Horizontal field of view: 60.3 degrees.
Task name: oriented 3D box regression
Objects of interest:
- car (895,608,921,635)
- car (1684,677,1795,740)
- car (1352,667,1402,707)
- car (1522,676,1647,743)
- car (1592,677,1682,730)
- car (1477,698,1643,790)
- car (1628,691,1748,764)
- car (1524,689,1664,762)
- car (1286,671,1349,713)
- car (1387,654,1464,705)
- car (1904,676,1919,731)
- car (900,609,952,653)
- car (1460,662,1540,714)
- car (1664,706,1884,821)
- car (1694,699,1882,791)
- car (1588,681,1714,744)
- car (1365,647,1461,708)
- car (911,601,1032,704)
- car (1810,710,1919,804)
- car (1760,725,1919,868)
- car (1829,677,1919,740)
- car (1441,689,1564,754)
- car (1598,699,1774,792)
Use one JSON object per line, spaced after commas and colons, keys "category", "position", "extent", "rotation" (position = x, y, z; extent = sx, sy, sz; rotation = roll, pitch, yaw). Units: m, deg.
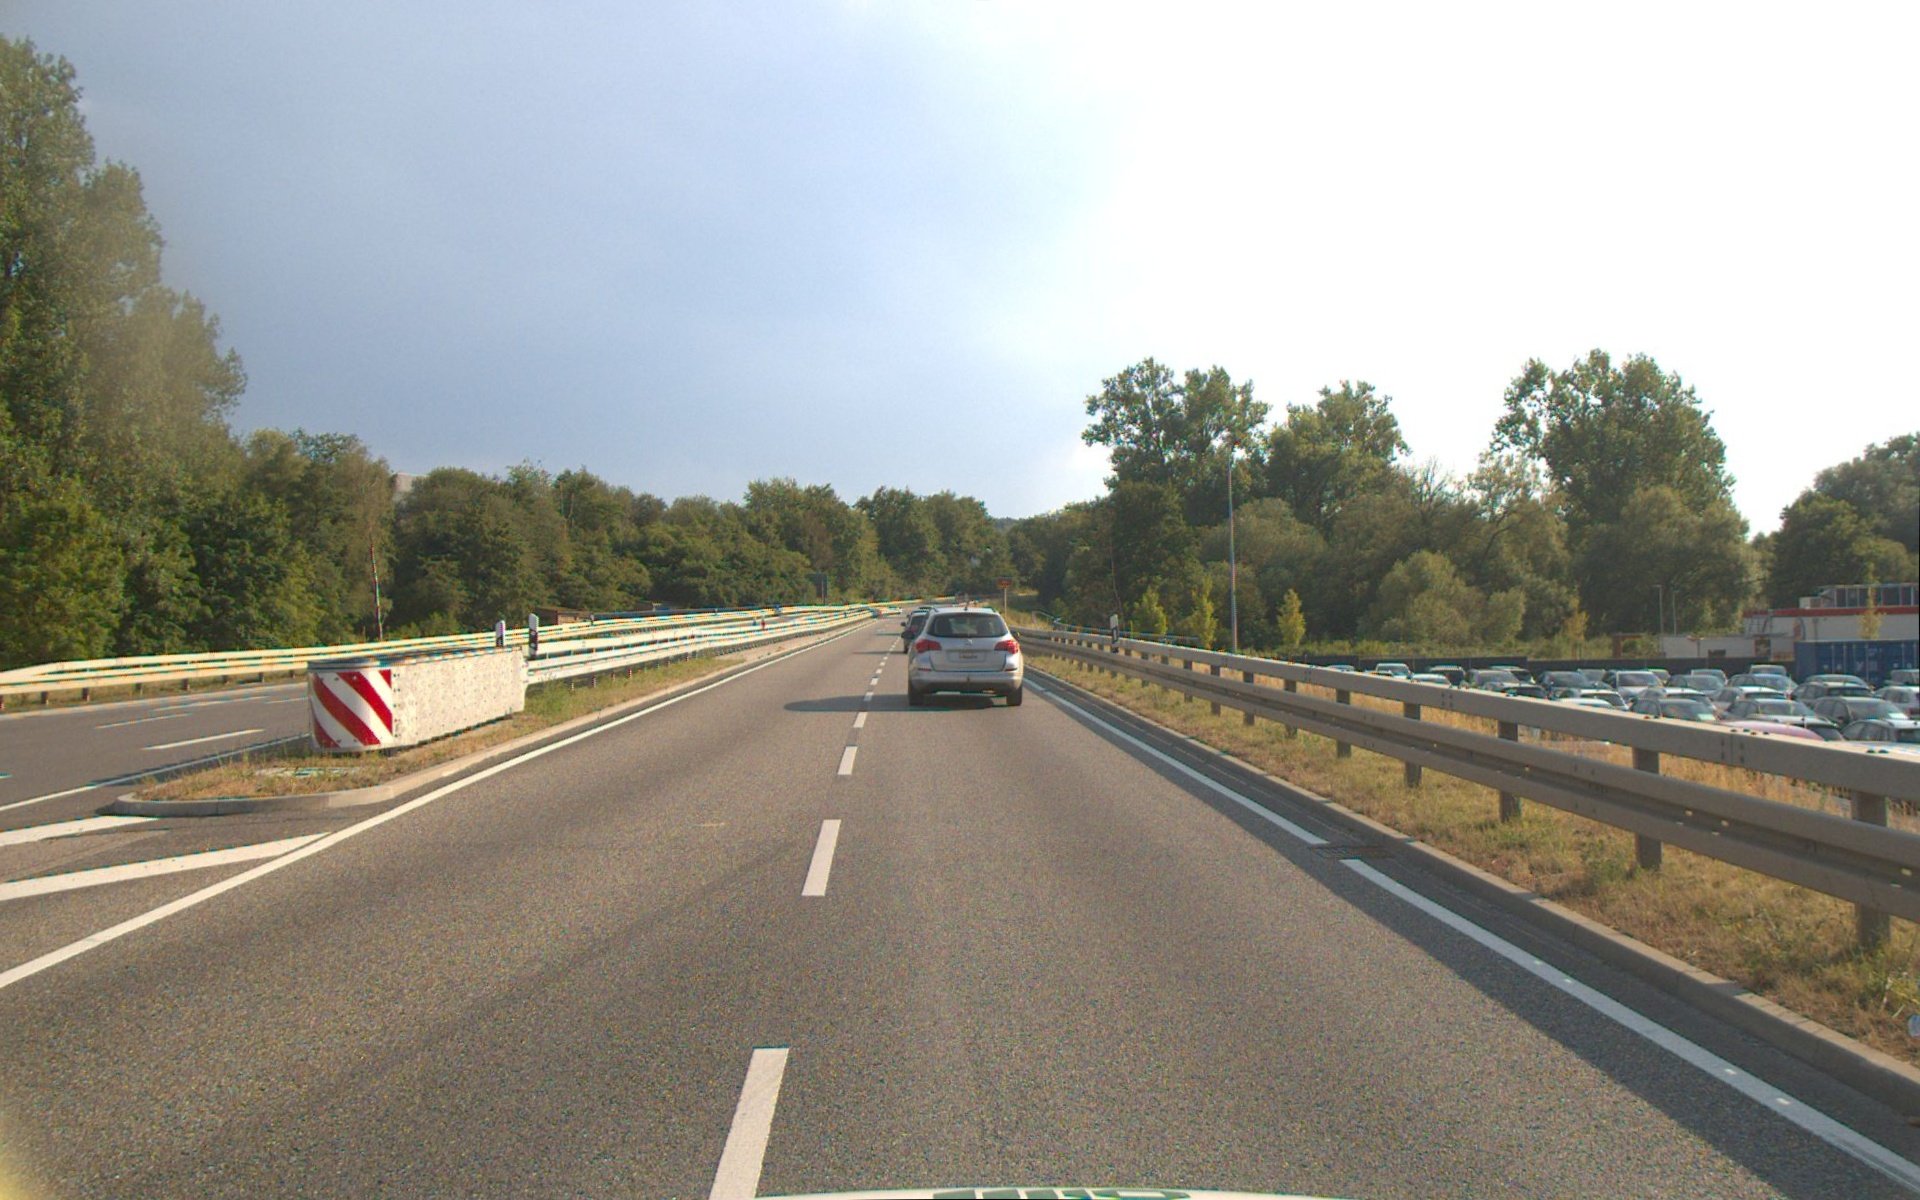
{"category": "car", "position": [-3.007, 1.255, 96.497], "extent": [1.462, 1.502, 3.357], "rotation": [1, -1, -1]}
{"category": "car", "position": [23.417, 3.235, 49.855], "extent": [1.737, 1.713, 4.002], "rotation": [0, -1, 5]}
{"category": "car", "position": [18.650, 3.875, 74.159], "extent": [1.911, 1.671, 4.247], "rotation": [0, -1, 11]}
{"category": "car", "position": [18.356, 3.181, 48.846], "extent": [1.798, 1.746, 4.664], "rotation": [1, -1, -2]}
{"category": "car", "position": [23.982, 3.631, 58.697], "extent": [1.738, 1.713, 4.001], "rotation": [1, -1, 3]}
{"category": "car", "position": [12.757, 3.028, 35.496], "extent": [1.841, 1.654, 4.729], "rotation": [1, -1, 0]}
{"category": "car", "position": [19.417, 3.359, 44.304], "extent": [1.737, 1.713, 4.002], "rotation": [0, -1, 5]}
{"category": "car", "position": [16.733, 3.271, 43.896], "extent": [1.841, 1.665, 4.728], "rotation": [1, -1, -1]}
{"category": "car", "position": [14.088, 3.621, 65.433], "extent": [1.671, 1.490, 4.000], "rotation": [1, -1, 1]}
{"category": "car", "position": [16.631, 2.828, 59.280], "extent": [1.738, 1.713, 4.000], "rotation": [1, -1, 2]}
{"category": "car", "position": [30.429, 3.176, 49.404], "extent": [1.841, 1.665, 4.729], "rotation": [1, -1, 1]}
{"category": "car", "position": [-1.239, 1.110, 59.399], "extent": [1.772, 1.512, 3.998], "rotation": [1, -1, -2]}
{"category": "car", "position": [19.121, 3.100, 58.710], "extent": [1.738, 1.713, 4.001], "rotation": [1, -1, 3]}
{"category": "car", "position": [14.322, 2.821, 29.440], "extent": [1.840, 1.654, 4.731], "rotation": [1, -1, 4]}
{"category": "car", "position": [17.854, 3.089, 35.932], "extent": [1.841, 1.665, 4.730], "rotation": [1, -1, 2]}
{"category": "car", "position": [20.755, 3.353, 49.896], "extent": [1.841, 1.665, 4.729], "rotation": [1, -1, 0]}
{"category": "car", "position": [13.562, 2.301, 49.729], "extent": [1.739, 1.713, 3.998], "rotation": [1, -1, -1]}
{"category": "car", "position": [0.109, 0.817, 26.396], "extent": [1.772, 1.512, 3.998], "rotation": [1, -1, -2]}
{"category": "car", "position": [20.085, 3.280, 35.170], "extent": [1.840, 1.665, 4.731], "rotation": [1, -1, 4]}
{"category": "car", "position": [13.138, 2.657, 22.535], "extent": [1.843, 1.654, 4.723], "rotation": [1, -1, -6]}
{"category": "car", "position": [27.760, 3.171, 48.884], "extent": [1.840, 1.665, 4.730], "rotation": [1, -1, 2]}
{"category": "car", "position": [16.066, 3.572, 49.252], "extent": [1.959, 1.679, 4.726], "rotation": [1, -1, -2]}
{"category": "car", "position": [15.408, 3.050, 35.401], "extent": [1.840, 1.665, 4.730], "rotation": [1, -1, 2]}
